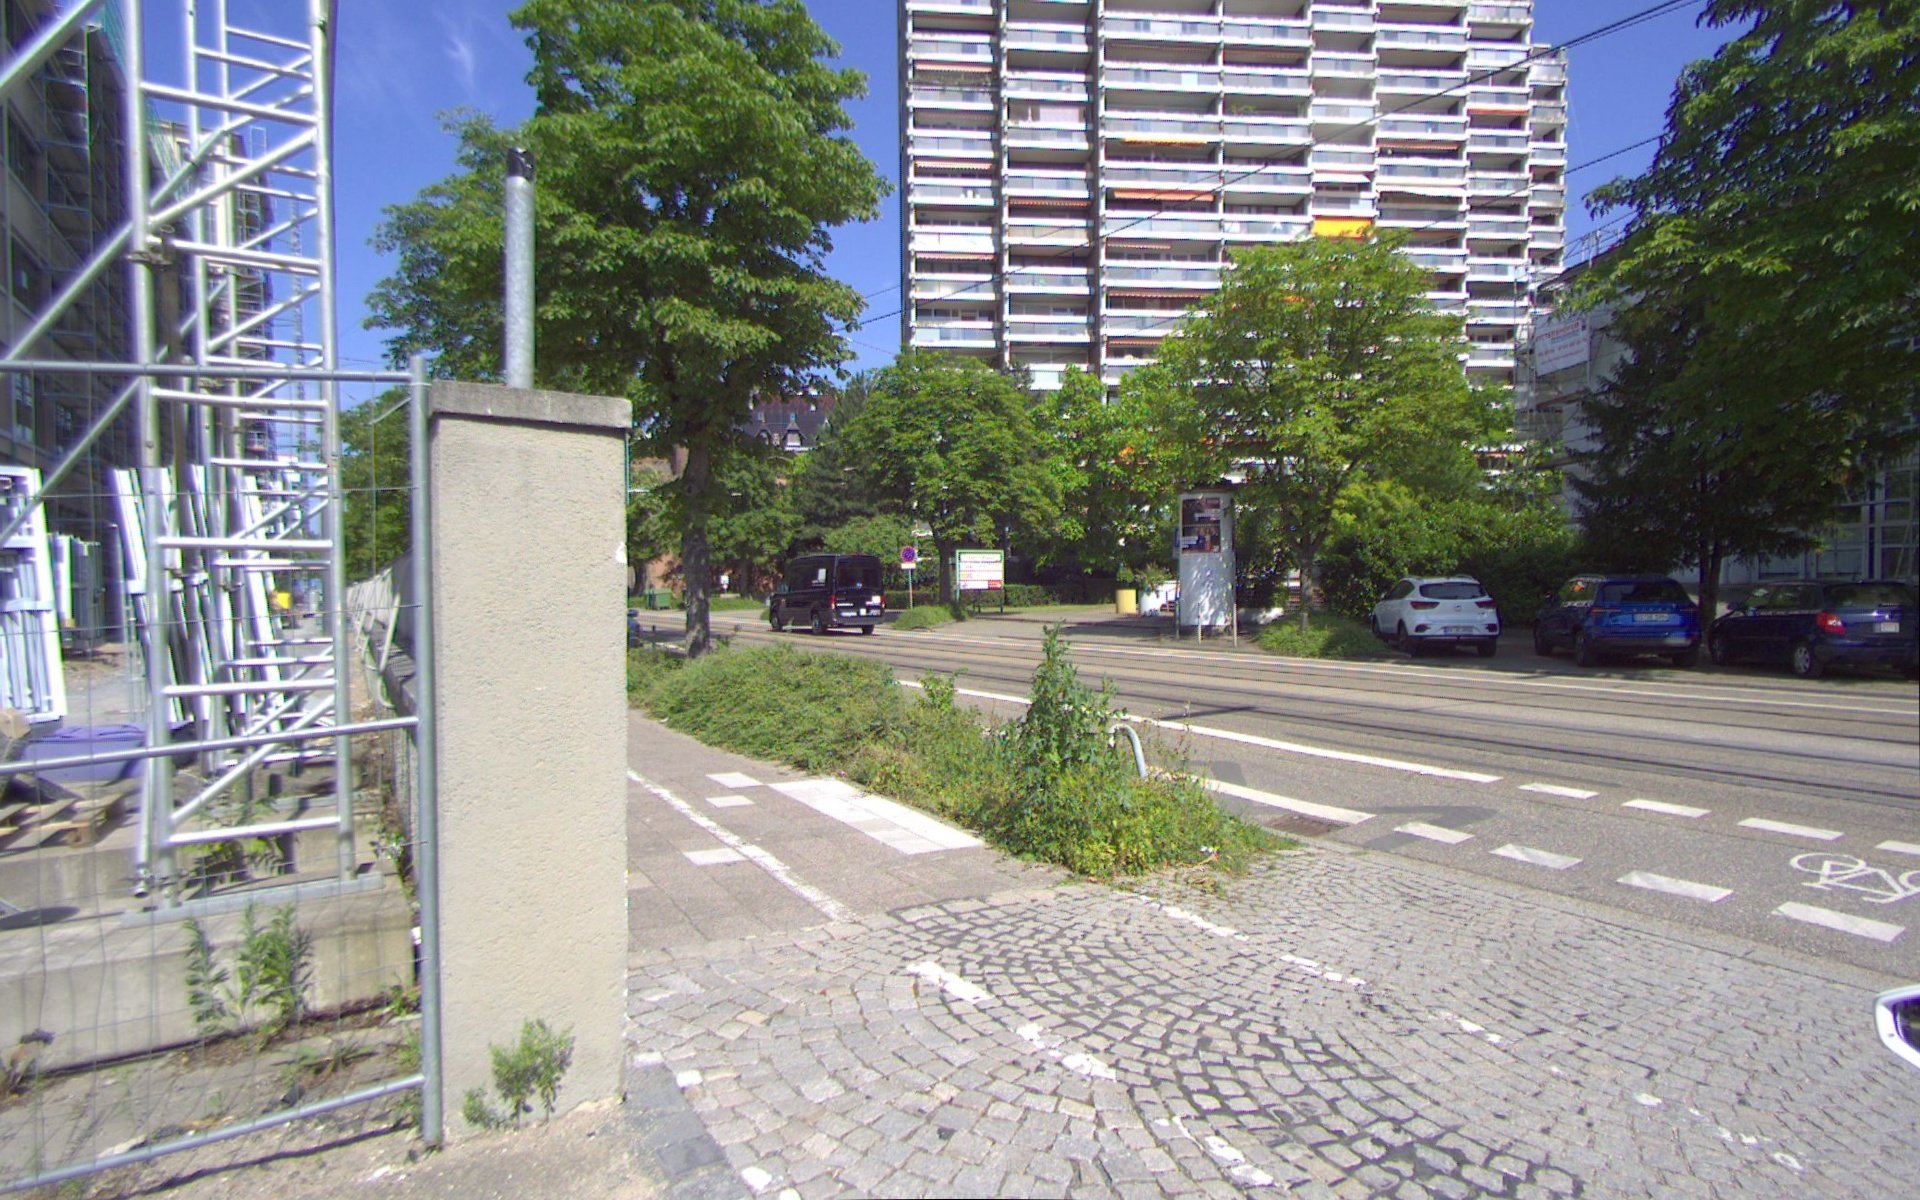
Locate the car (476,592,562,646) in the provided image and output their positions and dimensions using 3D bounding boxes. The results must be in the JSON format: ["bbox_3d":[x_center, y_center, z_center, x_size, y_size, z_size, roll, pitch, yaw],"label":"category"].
[{"bbox_3d":[-13.229,0.525,30.030,1.801,1.473,3.965,-1,1,-32],"label":"car"}]

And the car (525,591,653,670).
[{"bbox_3d":[-8.118,0.587,21.770,1.801,1.514,4.071,-1,1,-32],"label":"car"}]

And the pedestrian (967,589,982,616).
[{"bbox_3d":[0.647,0.096,44.589,0.525,1.170,0.700,-1,1,-10],"label":"pedestrian"}]

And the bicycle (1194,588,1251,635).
[{"bbox_3d":[7.554,0.316,28.903,0.542,1.326,1.604,-1,1,-37],"label":"bicycle"}]

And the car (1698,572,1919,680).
[{"bbox_3d":[13.683,0.355,16.232,1.544,1.551,3.460,0,1,12],"label":"car"}]

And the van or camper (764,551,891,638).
[{"bbox_3d":[-4.562,-0.200,33.778,2.028,2.655,5.810,-1,1,-32],"label":"van or camper"}]

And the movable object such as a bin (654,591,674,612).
[{"bbox_3d":[-20.927,0.121,71.036,1.249,1.473,1.072,0,1,-27],"label":"movable object such as a bin"}]

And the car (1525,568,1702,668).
[{"bbox_3d":[12.070,0.258,18.839,1.745,1.644,3.945,-1,2,17],"label":"car"}]

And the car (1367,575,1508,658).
[{"bbox_3d":[10.140,0.297,21.644,1.783,1.628,3.947,0,1,10],"label":"car"}]
